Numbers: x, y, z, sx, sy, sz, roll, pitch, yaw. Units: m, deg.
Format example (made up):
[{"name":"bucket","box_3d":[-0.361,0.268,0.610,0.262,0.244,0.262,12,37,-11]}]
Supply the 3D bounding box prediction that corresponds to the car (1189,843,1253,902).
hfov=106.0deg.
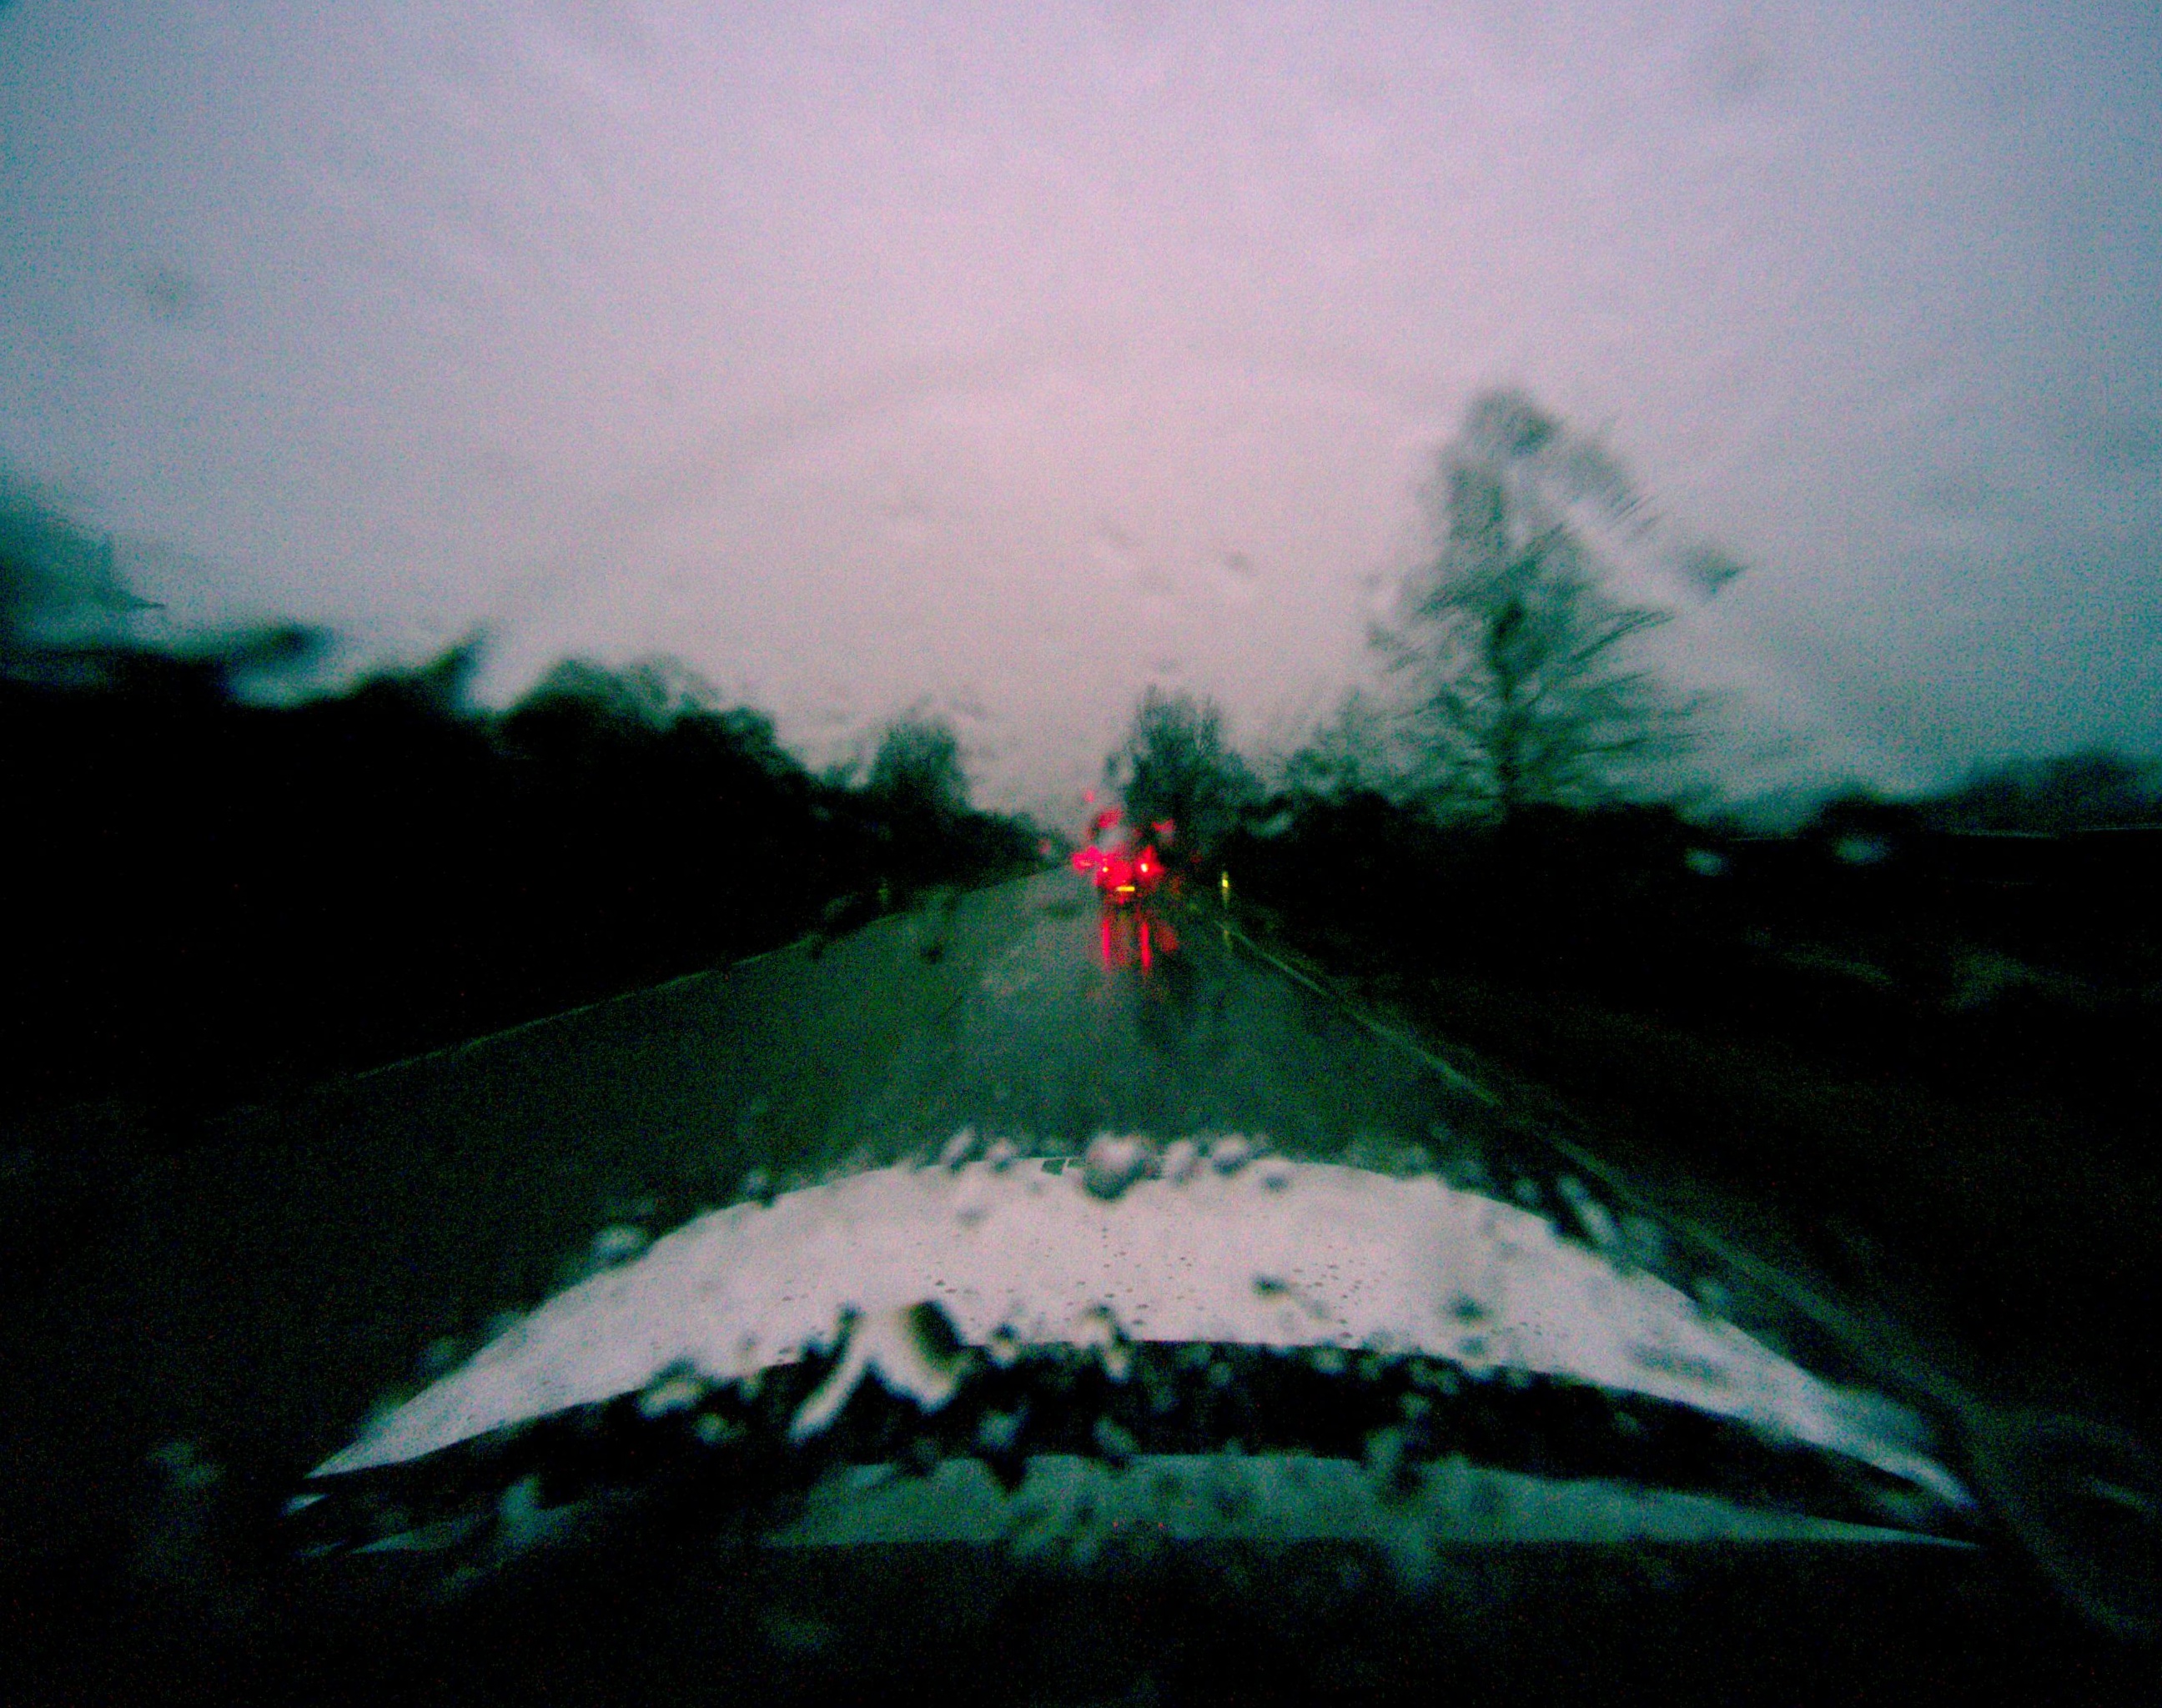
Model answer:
[{"name":"car","box_3d":[4.066,0.496,24.012,1.556,1.591,3.493,0,0,5]}]

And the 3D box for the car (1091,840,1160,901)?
[{"name":"car","box_3d":[1.415,0.478,25.750,1.985,1.784,4.004,0,0,3]}]

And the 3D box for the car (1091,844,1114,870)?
[{"name":"car","box_3d":[1.625,0.239,60.564,1.568,1.875,3.712,0,0,3]}]
